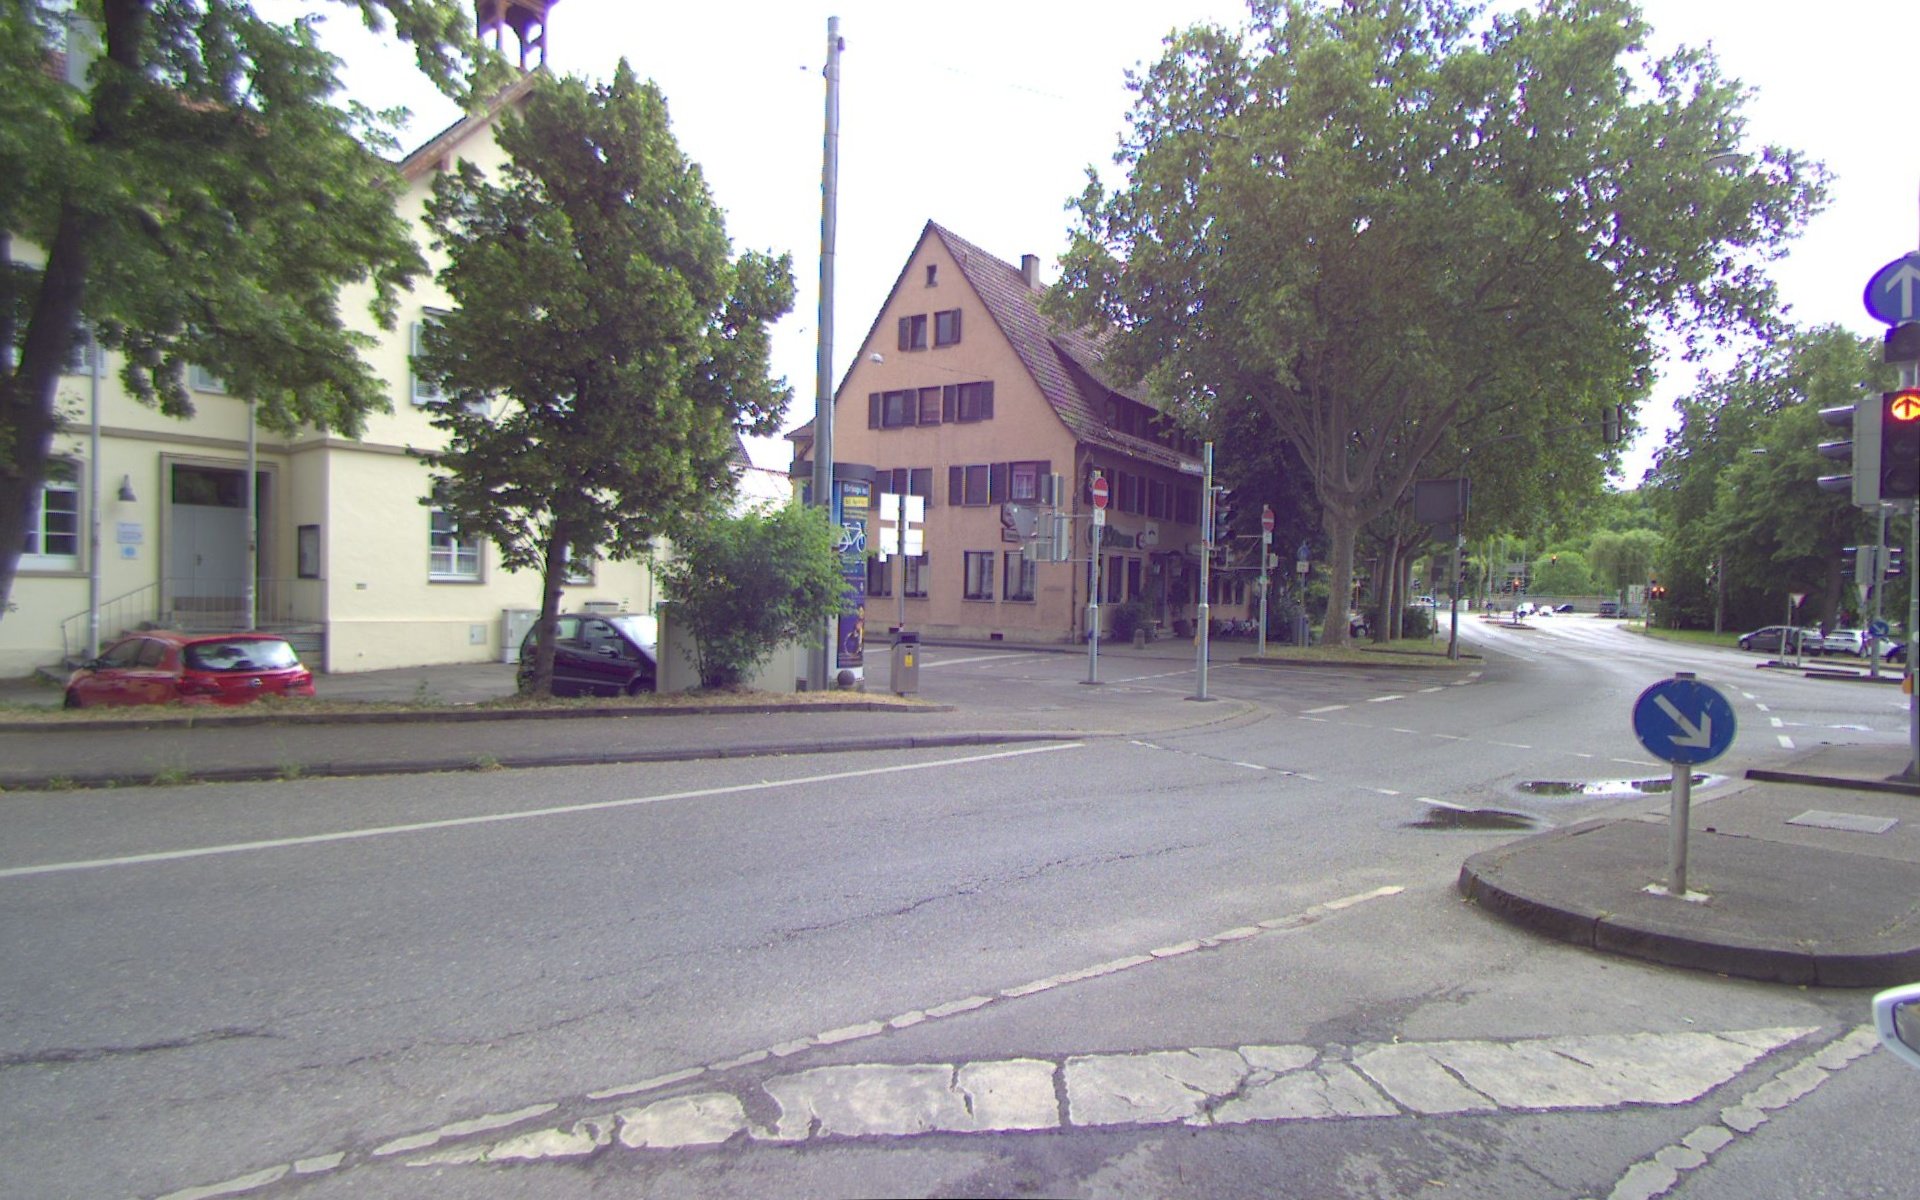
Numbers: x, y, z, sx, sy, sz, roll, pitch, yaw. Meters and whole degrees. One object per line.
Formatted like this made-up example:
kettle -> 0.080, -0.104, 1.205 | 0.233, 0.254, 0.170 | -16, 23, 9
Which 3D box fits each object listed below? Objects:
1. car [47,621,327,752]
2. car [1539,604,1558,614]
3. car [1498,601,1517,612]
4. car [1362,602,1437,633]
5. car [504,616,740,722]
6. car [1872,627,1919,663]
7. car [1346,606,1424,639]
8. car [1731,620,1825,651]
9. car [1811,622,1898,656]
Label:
car -> -10.317, 1.046, 13.371 | 3.653, 1.401, 1.659 | 2, 0, 30
car -> 91.036, 1.341, 155.369 | 1.469, 1.436, 3.028 | 3, 0, 10
car -> 85.324, 1.042, 156.548 | 1.553, 1.506, 3.337 | 3, 0, 12
car -> 25.728, 1.014, 58.782 | 3.924, 1.706, 1.998 | 1, 0, 25
car -> -5.535, 1.052, 16.441 | 3.507, 1.459, 1.644 | 2, 0, 26
car -> 39.445, 1.866, 40.762 | 1.746, 1.370, 3.326 | 2, 0, -2
car -> 23.996, 1.258, 56.706 | 3.924, 1.706, 1.998 | 1, 0, 25
car -> 43.817, 1.885, 53.905 | 1.592, 1.485, 3.778 | 2, 0, -11
car -> 47.461, 2.047, 53.323 | 3.696, 1.662, 1.859 | 2, 0, -19
